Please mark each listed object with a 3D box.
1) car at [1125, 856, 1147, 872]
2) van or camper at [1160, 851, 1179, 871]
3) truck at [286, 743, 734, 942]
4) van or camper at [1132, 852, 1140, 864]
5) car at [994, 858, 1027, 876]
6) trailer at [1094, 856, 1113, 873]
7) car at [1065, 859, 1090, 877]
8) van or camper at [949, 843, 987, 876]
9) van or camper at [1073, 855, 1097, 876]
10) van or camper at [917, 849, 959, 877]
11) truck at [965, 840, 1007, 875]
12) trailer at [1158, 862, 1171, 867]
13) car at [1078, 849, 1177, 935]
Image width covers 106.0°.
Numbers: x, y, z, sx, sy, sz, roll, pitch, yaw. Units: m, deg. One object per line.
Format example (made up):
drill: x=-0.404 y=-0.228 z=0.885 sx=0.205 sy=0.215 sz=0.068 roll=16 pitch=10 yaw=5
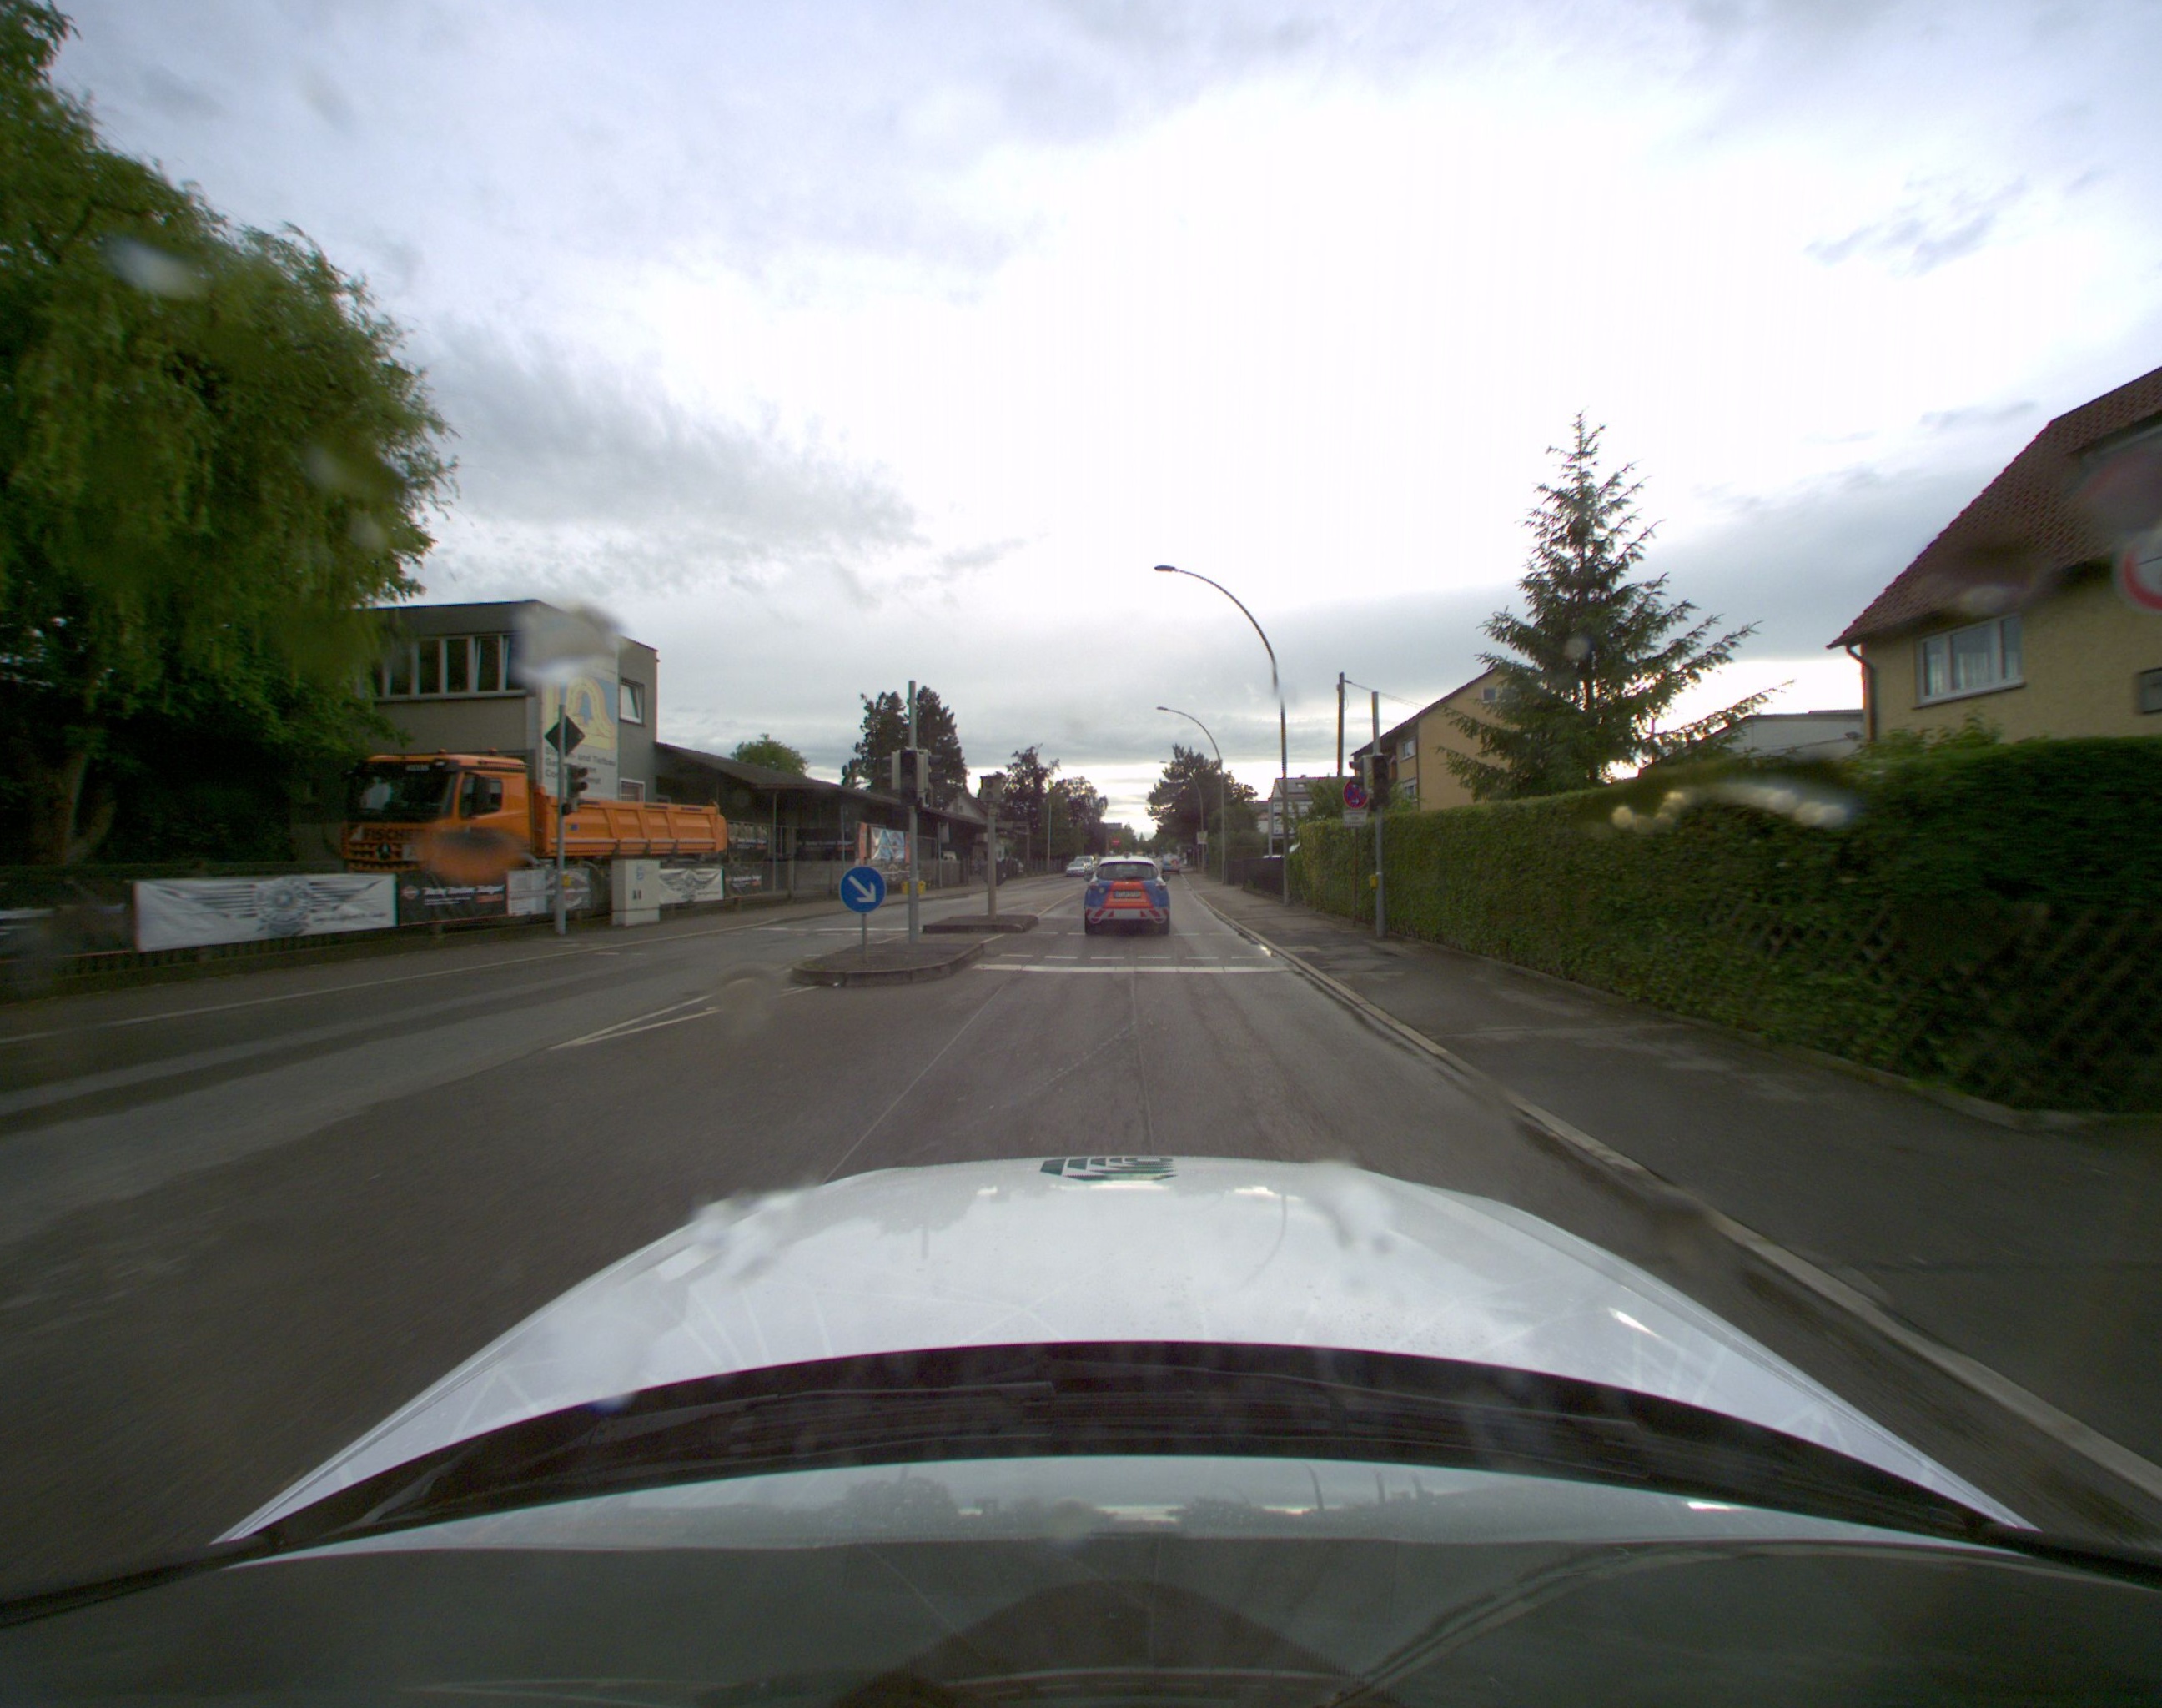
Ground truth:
car: x=5.510 y=0.969 z=81.000 sx=1.983 sy=1.420 sz=4.008 roll=-1 pitch=0 yaw=7
van or camper: x=8.623 y=0.681 z=79.663 sx=1.746 sy=1.883 sz=4.005 roll=-1 pitch=0 yaw=5
truck: x=-11.874 y=-0.035 z=18.653 sx=2.682 sy=3.412 sz=9.091 roll=1 pitch=-2 yaw=8
van or camper: x=13.811 y=0.967 z=203.389 sx=1.984 sy=2.775 sz=5.447 roll=-1 pitch=0 yaw=5
car: x=-6.049 y=1.136 z=70.558 sx=1.926 sy=1.444 sz=4.789 roll=0 pitch=-1 yaw=6
trailer: x=3.052 y=1.423 z=108.780 sx=2.210 sy=2.014 sz=4.440 roll=1 pitch=-2 yaw=4
car: x=-0.303 y=1.349 z=75.233 sx=1.733 sy=1.480 sz=4.190 roll=-2 pitch=-3 yaw=6
van or camper: x=-9.231 y=0.482 z=66.936 sx=1.850 sy=2.438 sz=5.239 roll=2 pitch=-2 yaw=4
van or camper: x=0.443 y=1.188 z=81.909 sx=1.881 sy=2.014 sz=5.103 roll=1 pitch=-2 yaw=5
van or camper: x=-10.487 y=0.676 z=60.115 sx=1.985 sy=1.909 sz=4.476 roll=2 pitch=-1 yaw=4
truck: x=-8.429 y=0.397 z=72.621 sx=2.382 sy=2.927 sz=5.966 roll=1 pitch=-1 yaw=6
trailer: x=12.462 y=1.592 z=121.570 sx=1.929 sy=0.754 sz=2.863 roll=-1 pitch=0 yaw=4
car: x=0.992 y=0.746 z=17.703 sx=1.881 sy=1.632 sz=4.003 roll=-1 pitch=0 yaw=3
